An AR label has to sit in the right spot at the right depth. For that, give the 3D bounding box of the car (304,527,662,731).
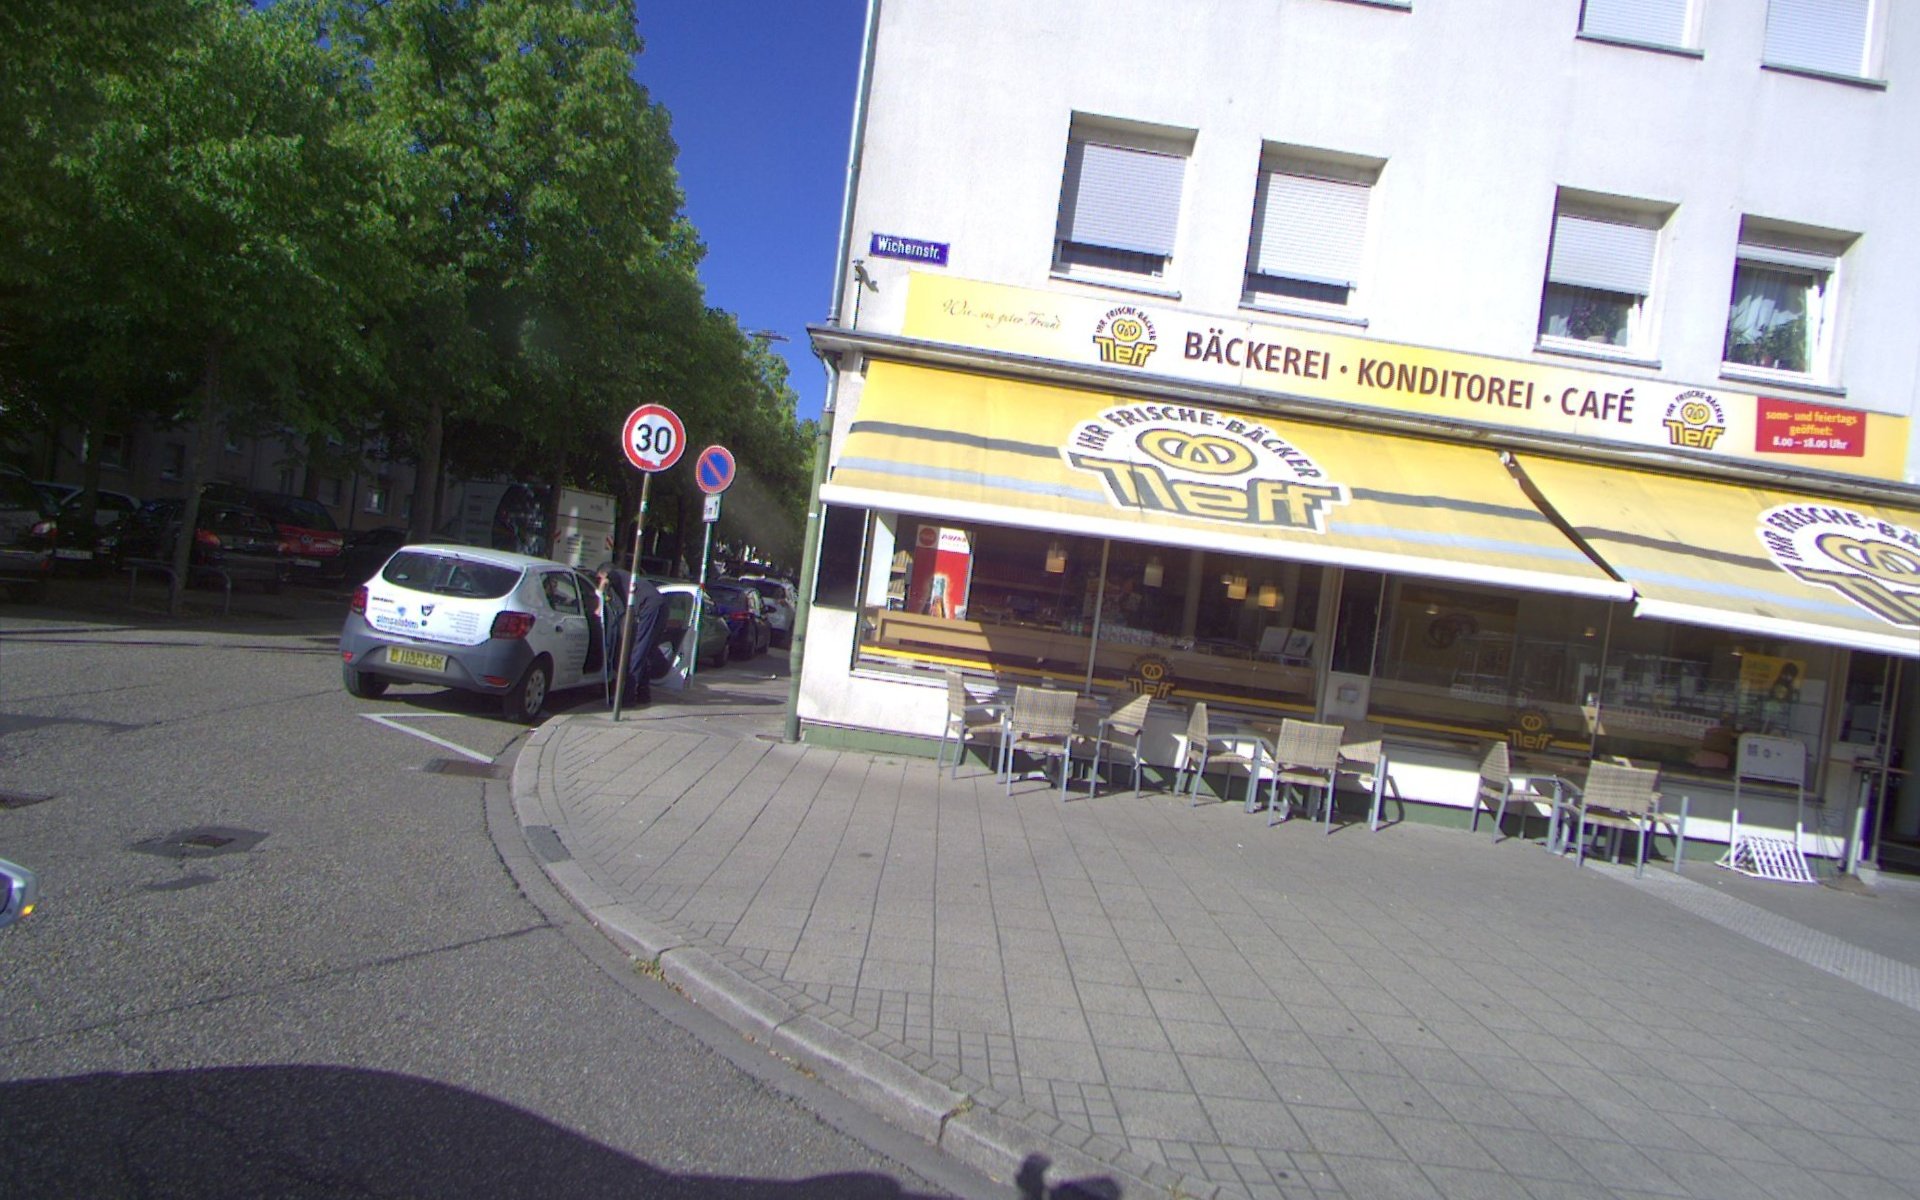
[{"bbox_3d":[-4.652,0.264,10.557,1.693,1.515,4.022,8,0,0],"label":"car"}]

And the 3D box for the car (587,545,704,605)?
[{"bbox_3d":[-13.781,-1.097,44.077,4.442,1.887,2.081,8,0,24],"label":"car"}]

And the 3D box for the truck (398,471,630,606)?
[{"bbox_3d":[-13.802,-1.939,30.935,7.201,3.334,2.542,7,0,30],"label":"truck"}]

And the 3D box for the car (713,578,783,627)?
[{"bbox_3d":[-7.767,0.105,37.170,1.770,1.522,3.584,7,0,-2],"label":"car"}]

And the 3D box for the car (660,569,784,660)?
[{"bbox_3d":[-4.871,0.270,21.167,1.776,1.481,4.436,8,0,-6],"label":"car"}]

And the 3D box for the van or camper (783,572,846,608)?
[{"bbox_3d":[-16.569,-1.146,114.280,6.561,3.281,2.492,7,0,27],"label":"van or camper"}]

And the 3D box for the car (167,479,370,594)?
[{"bbox_3d":[-15.013,-1.397,21.793,4.429,1.896,1.932,8,0,33],"label":"car"}]

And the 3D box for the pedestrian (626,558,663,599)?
[{"bbox_3d":[-12.065,-0.816,38.498,0.740,1.414,0.927,8,1,30],"label":"pedestrian"}]

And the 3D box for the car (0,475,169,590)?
[{"bbox_3d":[-14.689,-1.175,15.815,3.877,1.439,1.821,8,0,23],"label":"car"}]

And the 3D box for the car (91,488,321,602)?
[{"bbox_3d":[-13.532,-0.993,18.033,3.757,1.499,1.760,8,0,28],"label":"car"}]

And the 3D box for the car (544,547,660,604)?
[{"bbox_3d":[-13.300,-0.913,37.286,4.038,1.524,1.731,8,0,30],"label":"car"}]

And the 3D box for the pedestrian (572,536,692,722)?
[{"bbox_3d":[-3.330,0.291,10.267,0.747,1.743,0.745,7,1,5],"label":"pedestrian"}]

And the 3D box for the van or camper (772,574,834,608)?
[{"bbox_3d":[-15.779,-0.921,101.195,5.785,2.670,2.252,7,0,28],"label":"van or camper"}]

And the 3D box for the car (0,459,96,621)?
[{"bbox_3d":[-12.496,-0.971,11.999,4.262,1.692,1.835,10,1,29],"label":"car"}]

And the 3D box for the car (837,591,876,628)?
[{"bbox_3d":[-5.549,0.497,54.209,1.697,1.706,4.155,8,0,-4],"label":"car"}]

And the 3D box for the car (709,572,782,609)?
[{"bbox_3d":[-13.349,-0.615,62.624,4.075,1.700,1.757,8,0,28],"label":"car"}]

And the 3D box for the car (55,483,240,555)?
[{"bbox_3d":[-23.327,-2.266,29.125,1.737,1.452,4.343,8,0,-1],"label":"car"}]

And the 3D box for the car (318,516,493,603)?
[{"bbox_3d":[-13.491,-0.990,24.410,4.272,1.525,1.810,8,0,33],"label":"car"}]

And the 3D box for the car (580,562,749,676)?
[{"bbox_3d":[-4.735,0.298,16.635,1.572,1.481,3.672,8,0,0],"label":"car"}]

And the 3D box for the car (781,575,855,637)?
[{"bbox_3d":[-5.216,0.225,37.528,1.919,1.923,4.844,8,0,-1],"label":"car"}]

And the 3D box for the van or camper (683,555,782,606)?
[{"bbox_3d":[-17.116,-1.497,75.637,7.121,2.966,2.312,7,0,26],"label":"van or camper"}]

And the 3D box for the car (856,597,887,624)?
[{"bbox_3d":[-5.809,0.677,66.498,1.697,1.547,4.156,8,0,-3],"label":"car"}]

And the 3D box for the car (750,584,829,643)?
[{"bbox_3d":[-5.325,0.401,31.924,1.736,1.518,4.237,8,0,-2],"label":"car"}]

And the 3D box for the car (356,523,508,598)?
[{"bbox_3d":[-14.874,-1.137,28.303,4.272,1.525,1.810,8,0,33],"label":"car"}]

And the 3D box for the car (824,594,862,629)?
[{"bbox_3d":[-5.559,0.548,48.232,1.527,1.411,3.858,8,0,-5],"label":"car"}]

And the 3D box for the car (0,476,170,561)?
[{"bbox_3d":[-19.872,-1.796,22.358,1.730,1.504,3.943,8,0,-8],"label":"car"}]

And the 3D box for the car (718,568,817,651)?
[{"bbox_3d":[-4.957,0.246,26.470,1.736,1.774,4.507,8,0,-3],"label":"car"}]
